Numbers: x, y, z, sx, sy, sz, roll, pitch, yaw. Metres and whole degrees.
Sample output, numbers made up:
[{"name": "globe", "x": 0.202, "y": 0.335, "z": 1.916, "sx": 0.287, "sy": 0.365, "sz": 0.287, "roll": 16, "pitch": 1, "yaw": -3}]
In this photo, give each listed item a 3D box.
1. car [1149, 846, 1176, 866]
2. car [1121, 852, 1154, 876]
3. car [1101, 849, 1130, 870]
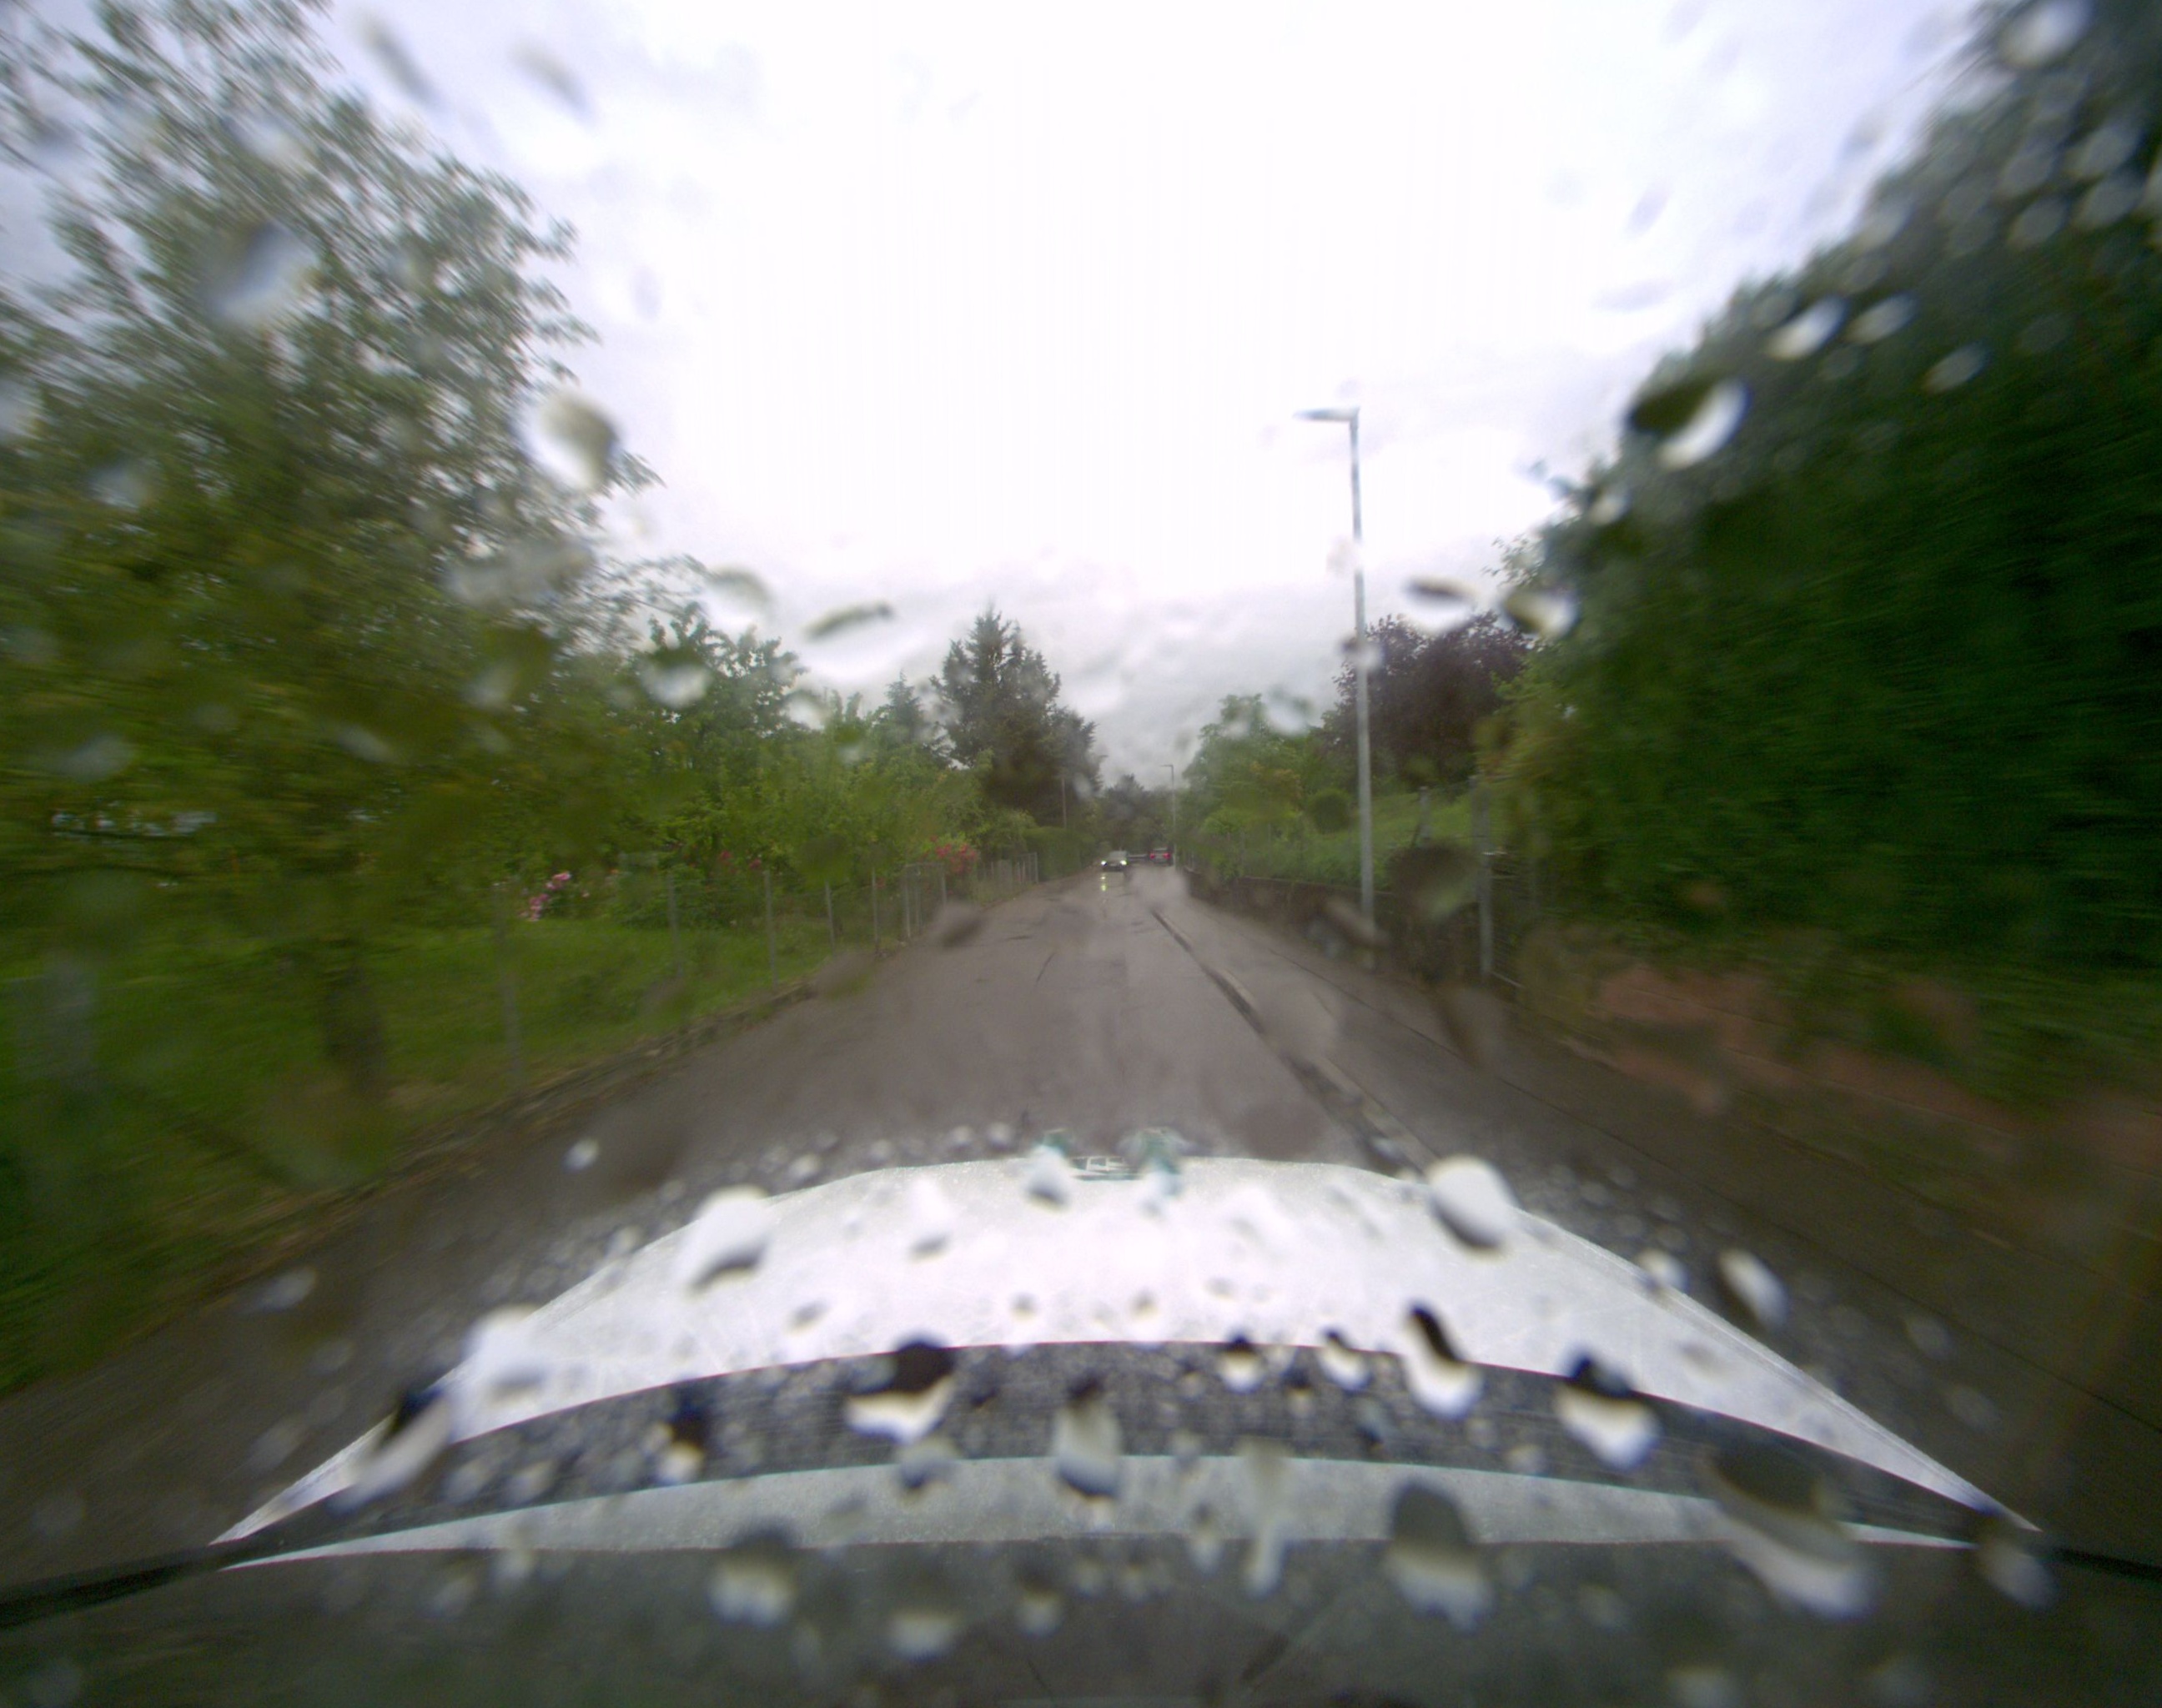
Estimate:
[{"name": "car", "x": 7.160, "y": 0.147, "z": 71.444, "sx": 1.665, "sy": 1.565, "sz": 3.811, "roll": 1, "pitch": 2, "yaw": 16}, {"name": "car", "x": 3.730, "y": 0.610, "z": 53.234, "sx": 1.825, "sy": 1.464, "sz": 4.008, "roll": 1, "pitch": 0, "yaw": 7}, {"name": "car", "x": 2.686, "y": 0.395, "z": 63.125, "sx": 1.769, "sy": 1.494, "sz": 3.841, "roll": 0, "pitch": 1, "yaw": 9}]
